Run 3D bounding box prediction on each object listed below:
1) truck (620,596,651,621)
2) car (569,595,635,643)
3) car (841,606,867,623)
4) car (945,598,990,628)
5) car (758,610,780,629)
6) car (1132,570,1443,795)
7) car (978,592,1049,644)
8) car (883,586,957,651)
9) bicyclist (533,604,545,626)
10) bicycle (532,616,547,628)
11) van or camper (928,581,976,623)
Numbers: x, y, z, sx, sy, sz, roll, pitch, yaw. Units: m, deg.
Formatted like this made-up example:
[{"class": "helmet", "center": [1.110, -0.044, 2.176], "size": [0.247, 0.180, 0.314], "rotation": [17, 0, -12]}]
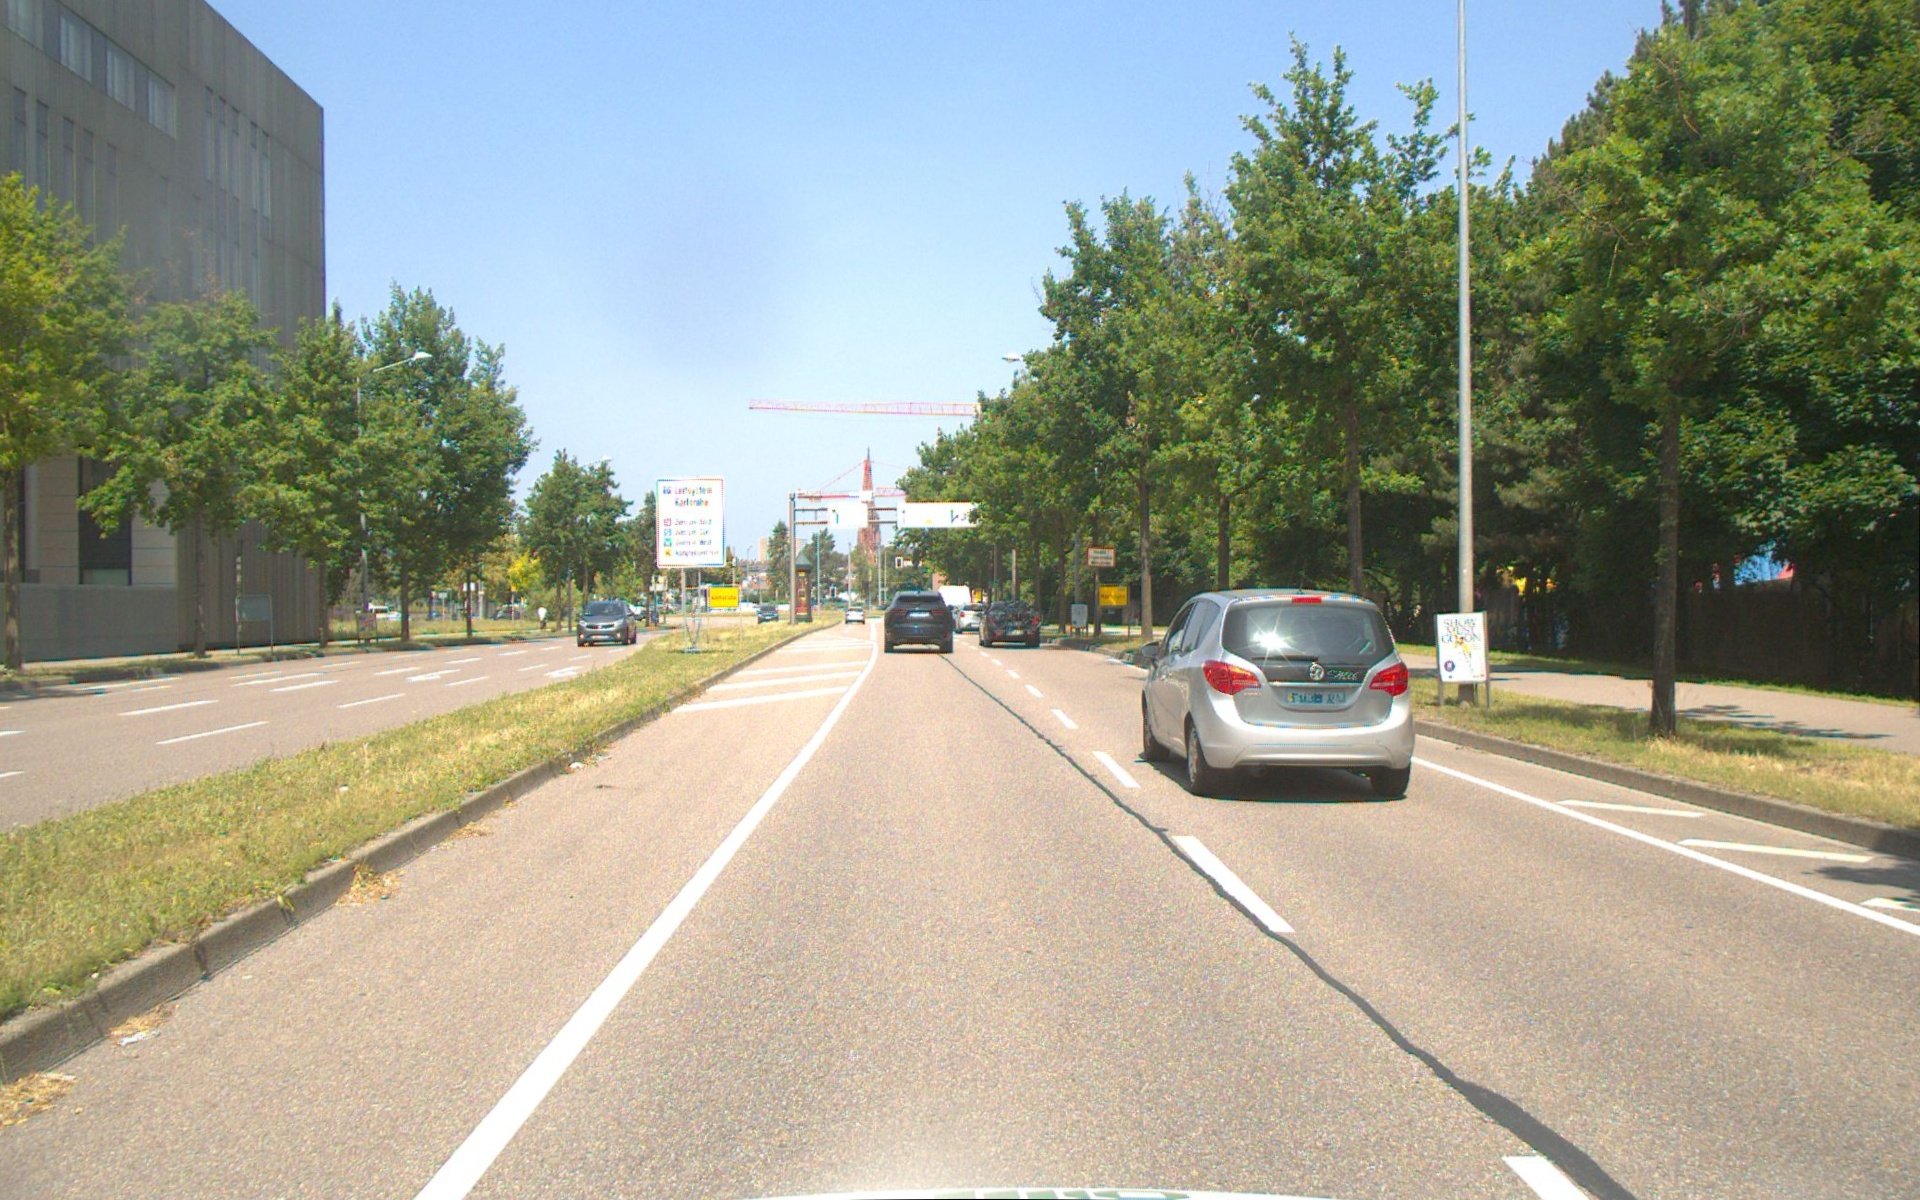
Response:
[{"class": "truck", "center": [-34.784, 0.845, 177.376], "size": [2.587, 2.622, 6.311], "rotation": [0, 0, -5]}, {"class": "car", "center": [-12.145, 0.625, 56.295], "size": [1.674, 1.497, 3.937], "rotation": [-2, 0, -5]}, {"class": "car", "center": [-9.132, 1.226, 142.060], "size": [1.956, 1.344, 3.994], "rotation": [0, 0, -7]}, {"class": "car", "center": [0.334, 0.629, 81.549], "size": [1.623, 1.380, 4.453], "rotation": [-1, 0, -8]}, {"class": "car", "center": [-17.325, 1.718, 150.075], "size": [1.856, 1.639, 4.529], "rotation": [0, 0, -5]}, {"class": "car", "center": [2.608, 0.599, 14.065], "size": [1.756, 1.640, 3.889], "rotation": [0, 0, -2]}, {"class": "car", "center": [1.640, 0.541, 51.832], "size": [1.973, 1.544, 4.459], "rotation": [-1, 0, -1]}, {"class": "car", "center": [-1.136, 0.477, 46.135], "size": [1.957, 1.719, 4.032], "rotation": [0, 0, -2]}, {"class": "bicyclist", "center": [-28.249, 1.006, 111.007], "size": [0.610, 1.515, 0.757], "rotation": [0, 0, 0]}, {"class": "bicycle", "center": [-28.209, 1.465, 110.958], "size": [0.471, 0.728, 1.850], "rotation": [0, 0, 0]}, {"class": "van or camper", "center": [-0.491, 0.105, 95.273], "size": [2.444, 2.331, 4.917], "rotation": [-1, 0, -4]}]
